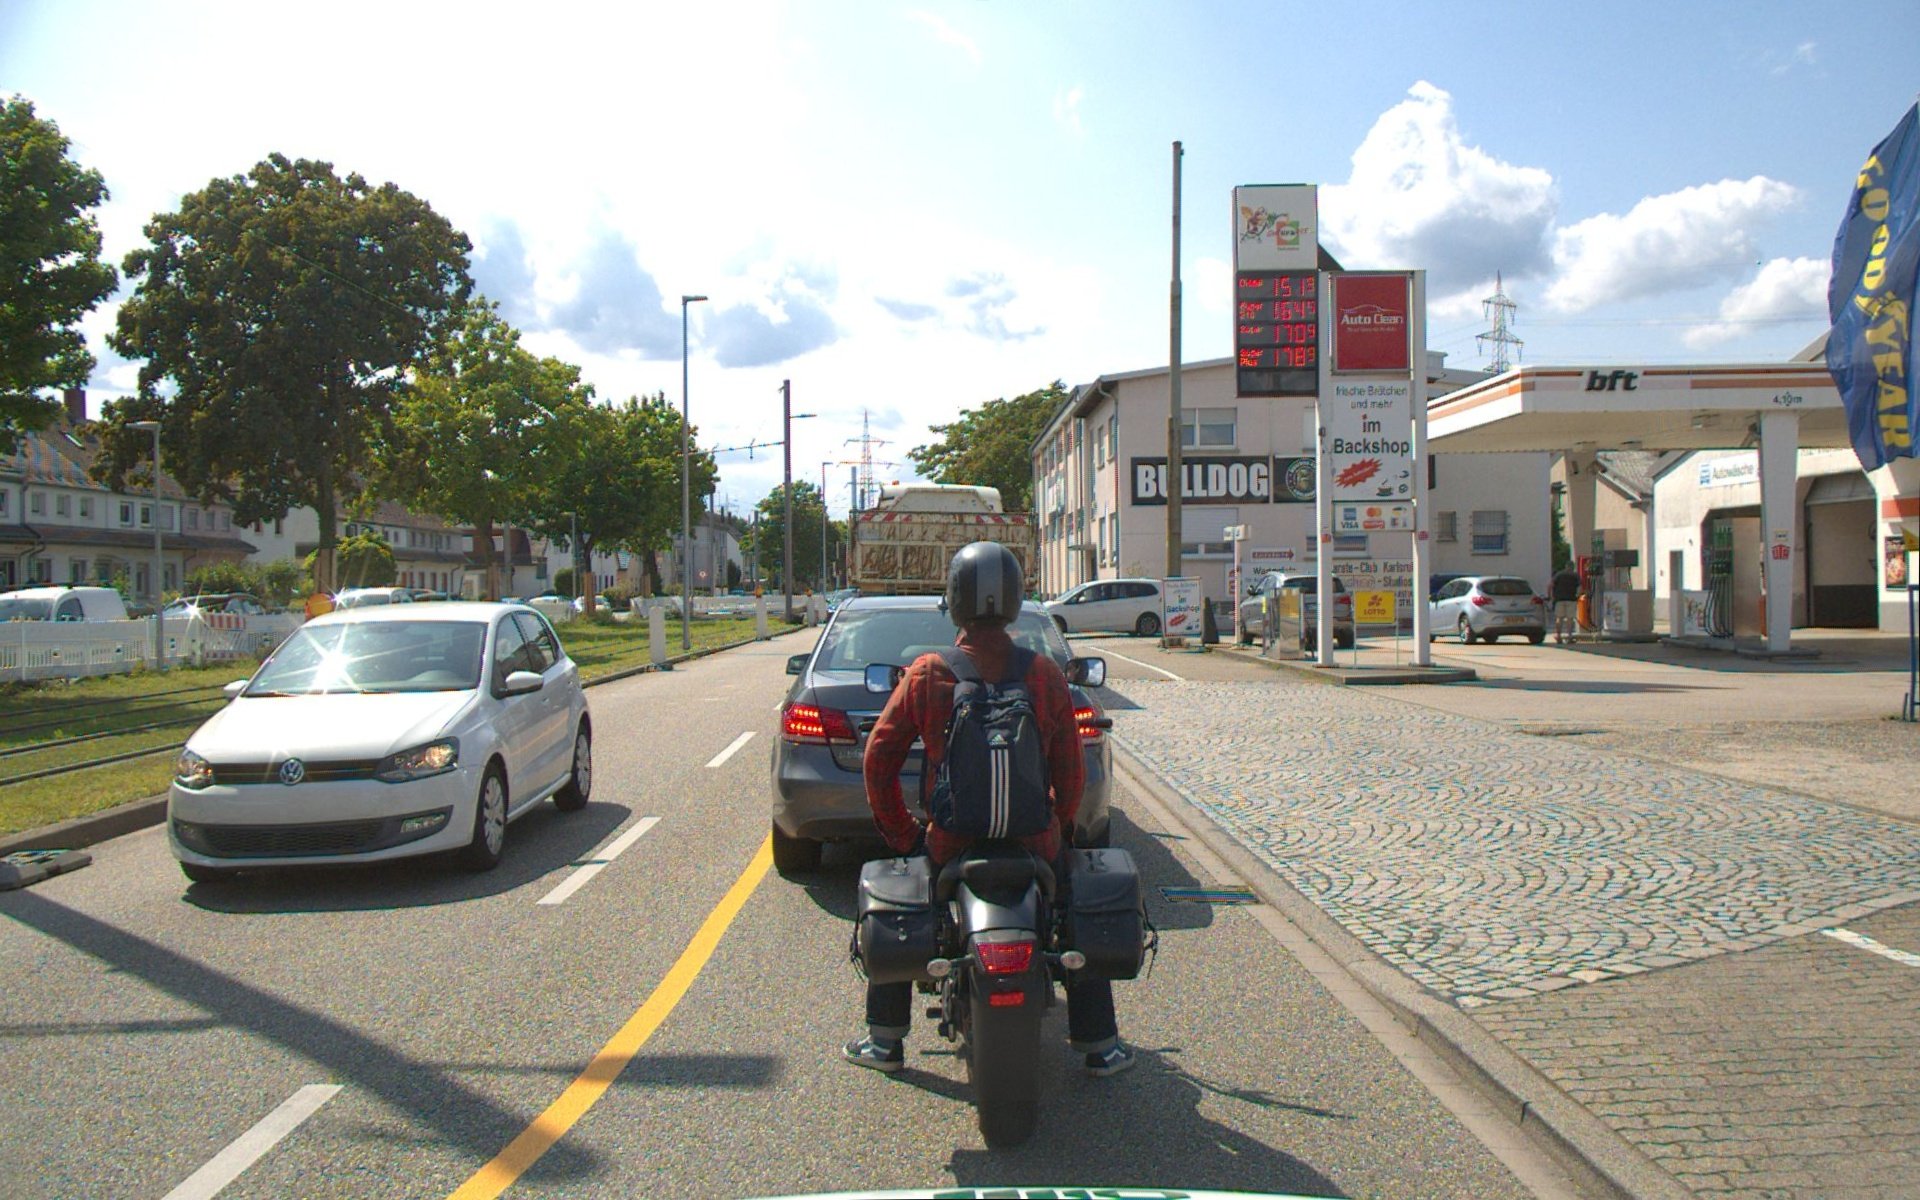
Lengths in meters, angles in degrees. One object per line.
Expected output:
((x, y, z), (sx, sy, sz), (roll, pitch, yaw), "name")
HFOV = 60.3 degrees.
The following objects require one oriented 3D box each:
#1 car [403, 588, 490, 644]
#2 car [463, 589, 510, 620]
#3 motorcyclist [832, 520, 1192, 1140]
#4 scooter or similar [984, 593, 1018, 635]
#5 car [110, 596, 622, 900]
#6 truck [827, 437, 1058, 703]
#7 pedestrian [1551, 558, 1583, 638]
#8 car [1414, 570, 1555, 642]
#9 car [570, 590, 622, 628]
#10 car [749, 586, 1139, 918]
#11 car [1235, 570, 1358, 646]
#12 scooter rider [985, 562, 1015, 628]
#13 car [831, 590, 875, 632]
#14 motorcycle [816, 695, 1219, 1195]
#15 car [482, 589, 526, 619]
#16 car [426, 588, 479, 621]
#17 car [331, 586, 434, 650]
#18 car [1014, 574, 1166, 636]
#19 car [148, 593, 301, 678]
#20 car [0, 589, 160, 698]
((-17.017, 0.497, 54.972), (1.664, 1.770, 3.860), (-1, 0, -1), "car")
((-28.060, 0.260, 98.136), (1.664, 1.770, 4.061), (-1, 0, -1), "car")
((0.132, 0.617, 5.067), (0.950, 1.662, 1.214), (1, 0, -1), "motorcyclist")
((1.157, 0.394, 47.090), (0.780, 1.165, 1.517), (-1, 0, -6), "scooter or similar")
((-3.363, 0.723, 10.298), (1.680, 1.438, 4.261), (-1, 0, -1), "car")
((-0.353, -0.422, 25.460), (2.910, 3.362, 8.404), (-1, 0, -2), "truck")
((13.137, -0.046, 35.783), (0.621, 1.712, 0.622), (-1, 0, 20), "pedestrian")
((11.775, 0.104, 37.411), (1.795, 1.505, 4.008), (-1, 0, -2), "car")
((-17.490, 0.407, 79.563), (1.664, 1.770, 3.860), (-1, 0, -1), "car")
((-0.134, 0.690, 9.729), (1.795, 1.505, 4.008), (-1, 0, -2), "car")
((7.404, 0.144, 36.746), (1.795, 1.562, 4.008), (-1, 0, -2), "car")
((1.141, -0.145, 47.121), (0.780, 1.850, 0.508), (-1, 0, -6), "scooter rider")
((-4.416, 0.429, 68.675), (1.646, 1.652, 4.118), (-1, 0, -1), "car")
((0.121, 0.899, 5.185), (0.956, 1.031, 2.431), (1, 0, -1), "motorcycle")
((-28.663, 0.231, 104.138), (1.664, 1.770, 4.061), (-1, 0, -1), "car")
((-28.180, 0.245, 91.926), (1.664, 1.770, 4.061), (-1, 0, -1), "car")
((-16.910, 0.493, 48.606), (1.664, 1.770, 3.860), (-1, 0, -1), "car")
((3.673, 0.119, 47.075), (4.029, 1.652, 1.682), (-1, 0, -9), "car")
((-16.670, 0.757, 37.708), (1.664, 1.770, 4.053), (-1, 0, -1), "car")
((-16.415, 0.743, 30.285), (1.664, 1.849, 3.860), (-1, 0, -1), "car")
